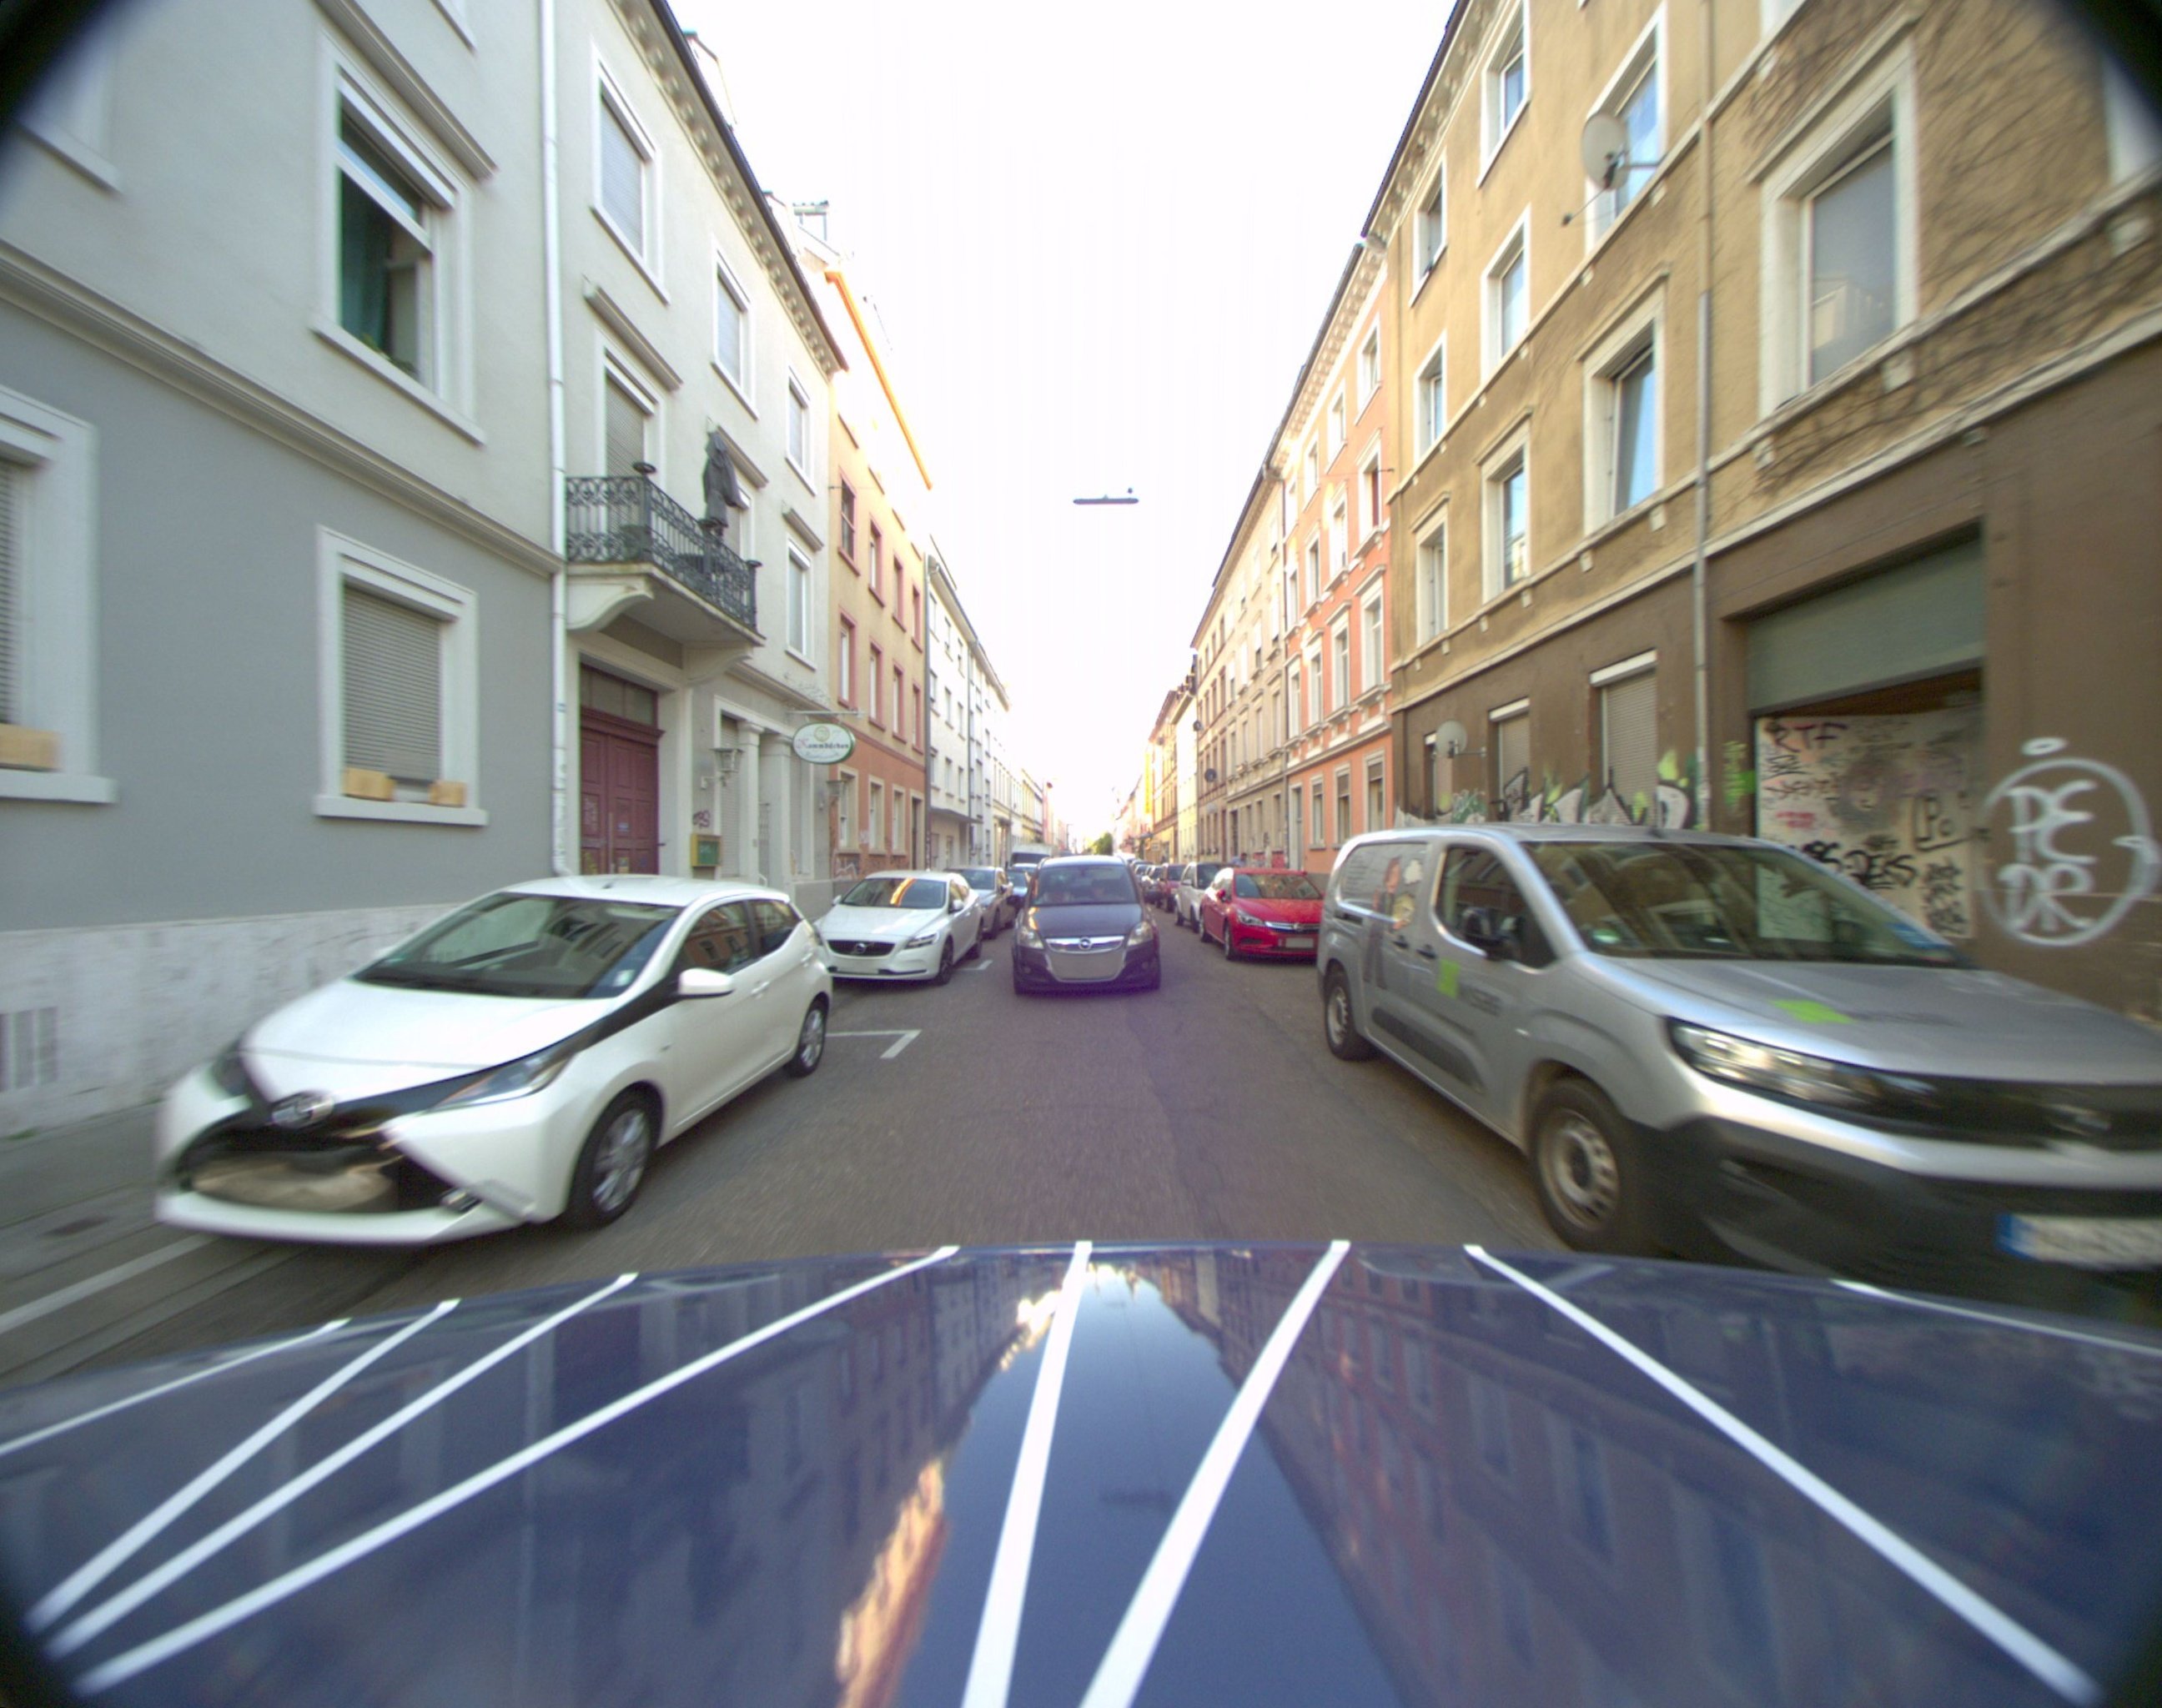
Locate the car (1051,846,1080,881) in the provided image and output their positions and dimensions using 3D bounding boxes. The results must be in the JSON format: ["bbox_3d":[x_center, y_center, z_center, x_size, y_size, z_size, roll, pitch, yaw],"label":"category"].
[{"bbox_3d":[-1.205,0.753,62.751,2.050,2.662,6.186,-2,0,1],"label":"car"}]

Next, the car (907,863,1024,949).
[{"bbox_3d":[-2.399,1.044,16.857,1.683,1.588,4.191,-2,0,3],"label":"car"}]

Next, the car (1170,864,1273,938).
[{"bbox_3d":[3.131,1.011,17.478,1.684,1.540,2.959,1,0,-3],"label":"car"}]

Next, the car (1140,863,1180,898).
[{"bbox_3d":[3.547,1.147,34.219,1.682,1.454,3.862,-1,0,5],"label":"car"}]

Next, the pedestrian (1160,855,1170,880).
[{"bbox_3d":[6.118,0.962,55.244,0.626,1.820,0.594,-2,0,2],"label":"pedestrian"}]

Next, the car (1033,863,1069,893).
[{"bbox_3d":[-1.587,1.267,41.305,1.683,1.434,3.860,-2,0,1],"label":"car"}]

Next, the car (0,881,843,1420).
[{"bbox_3d":[-2.792,1.025,4.350,1.640,1.577,3.788,-2,0,0],"label":"car"}]

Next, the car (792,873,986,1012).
[{"bbox_3d":[-2.521,1.099,11.046,1.683,1.501,4.190,-2,0,0],"label":"car"}]

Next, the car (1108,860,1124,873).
[{"bbox_3d":[4.017,1.442,87.496,1.683,1.381,3.860,-1,0,1],"label":"car"}]

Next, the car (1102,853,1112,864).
[{"bbox_3d":[7.636,1.286,223.725,2.564,3.029,7.062,-2,0,1],"label":"car"}]

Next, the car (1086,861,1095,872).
[{"bbox_3d":[1.820,2.469,151.314,1.683,2.077,4.159,-2,0,1],"label":"car"}]

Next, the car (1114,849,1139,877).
[{"bbox_3d":[4.362,0.820,73.157,2.094,2.576,5.843,-1,0,0],"label":"car"}]

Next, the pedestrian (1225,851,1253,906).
[{"bbox_3d":[5.309,0.814,25.582,0.790,1.820,0.594,-2,0,1],"label":"pedestrian"}]

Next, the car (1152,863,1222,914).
[{"bbox_3d":[3.333,1.046,24.443,1.683,1.483,3.611,-1,0,-1],"label":"car"}]

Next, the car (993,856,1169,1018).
[{"bbox_3d":[0.029,0.889,10.590,1.798,1.652,5.184,-2,0,1],"label":"car"}]

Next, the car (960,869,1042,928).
[{"bbox_3d":[-2.153,1.177,21.568,1.772,1.386,4.495,-2,0,0],"label":"car"}]

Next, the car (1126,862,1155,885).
[{"bbox_3d":[3.877,1.246,50.079,1.683,1.448,3.860,-1,0,1],"label":"car"}]

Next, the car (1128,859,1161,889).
[{"bbox_3d":[3.644,1.113,44.386,1.683,1.673,3.860,-1,0,1],"label":"car"}]

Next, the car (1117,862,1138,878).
[{"bbox_3d":[4.117,1.381,67.116,1.683,1.381,3.860,-1,0,1],"label":"car"}]

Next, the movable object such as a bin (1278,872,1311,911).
[{"bbox_3d":[6.108,1.062,21.788,0.779,1.043,0.662,-3,0,9],"label":"movable object such as a bin"}]

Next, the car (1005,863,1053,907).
[{"bbox_3d":[-1.956,1.145,29.564,1.683,1.550,3.859,-2,0,-2],"label":"car"}]

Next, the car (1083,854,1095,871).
[{"bbox_3d":[1.738,1.783,158.492,2.436,3.404,5.544,-2,0,1],"label":"car"}]

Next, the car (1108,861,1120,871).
[{"bbox_3d":[4.693,1.732,109.485,1.683,1.381,3.860,-1,0,1],"label":"car"}]

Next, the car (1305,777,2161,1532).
[{"bbox_3d":[2.743,0.798,4.205,1.683,1.899,4.519,2,0,1],"label":"car"}]

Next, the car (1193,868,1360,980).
[{"bbox_3d":[3.056,1.028,12.764,1.683,1.465,4.203,2,0,0],"label":"car"}]

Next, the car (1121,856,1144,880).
[{"bbox_3d":[4.151,1.081,61.837,1.751,1.880,4.772,-1,0,3],"label":"car"}]

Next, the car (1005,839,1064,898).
[{"bbox_3d":[-2.100,0.642,36.282,2.049,2.498,6.025,-2,0,3],"label":"car"}]

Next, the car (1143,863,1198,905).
[{"bbox_3d":[3.359,1.103,29.233,1.683,1.454,4.313,-1,0,1],"label":"car"}]

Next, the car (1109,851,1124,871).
[{"bbox_3d":[4.389,0.857,94.476,1.683,2.352,4.099,-1,0,1],"label":"car"}]

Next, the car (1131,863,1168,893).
[{"bbox_3d":[3.492,1.206,39.346,1.683,1.454,3.860,-1,0,1],"label":"car"}]
